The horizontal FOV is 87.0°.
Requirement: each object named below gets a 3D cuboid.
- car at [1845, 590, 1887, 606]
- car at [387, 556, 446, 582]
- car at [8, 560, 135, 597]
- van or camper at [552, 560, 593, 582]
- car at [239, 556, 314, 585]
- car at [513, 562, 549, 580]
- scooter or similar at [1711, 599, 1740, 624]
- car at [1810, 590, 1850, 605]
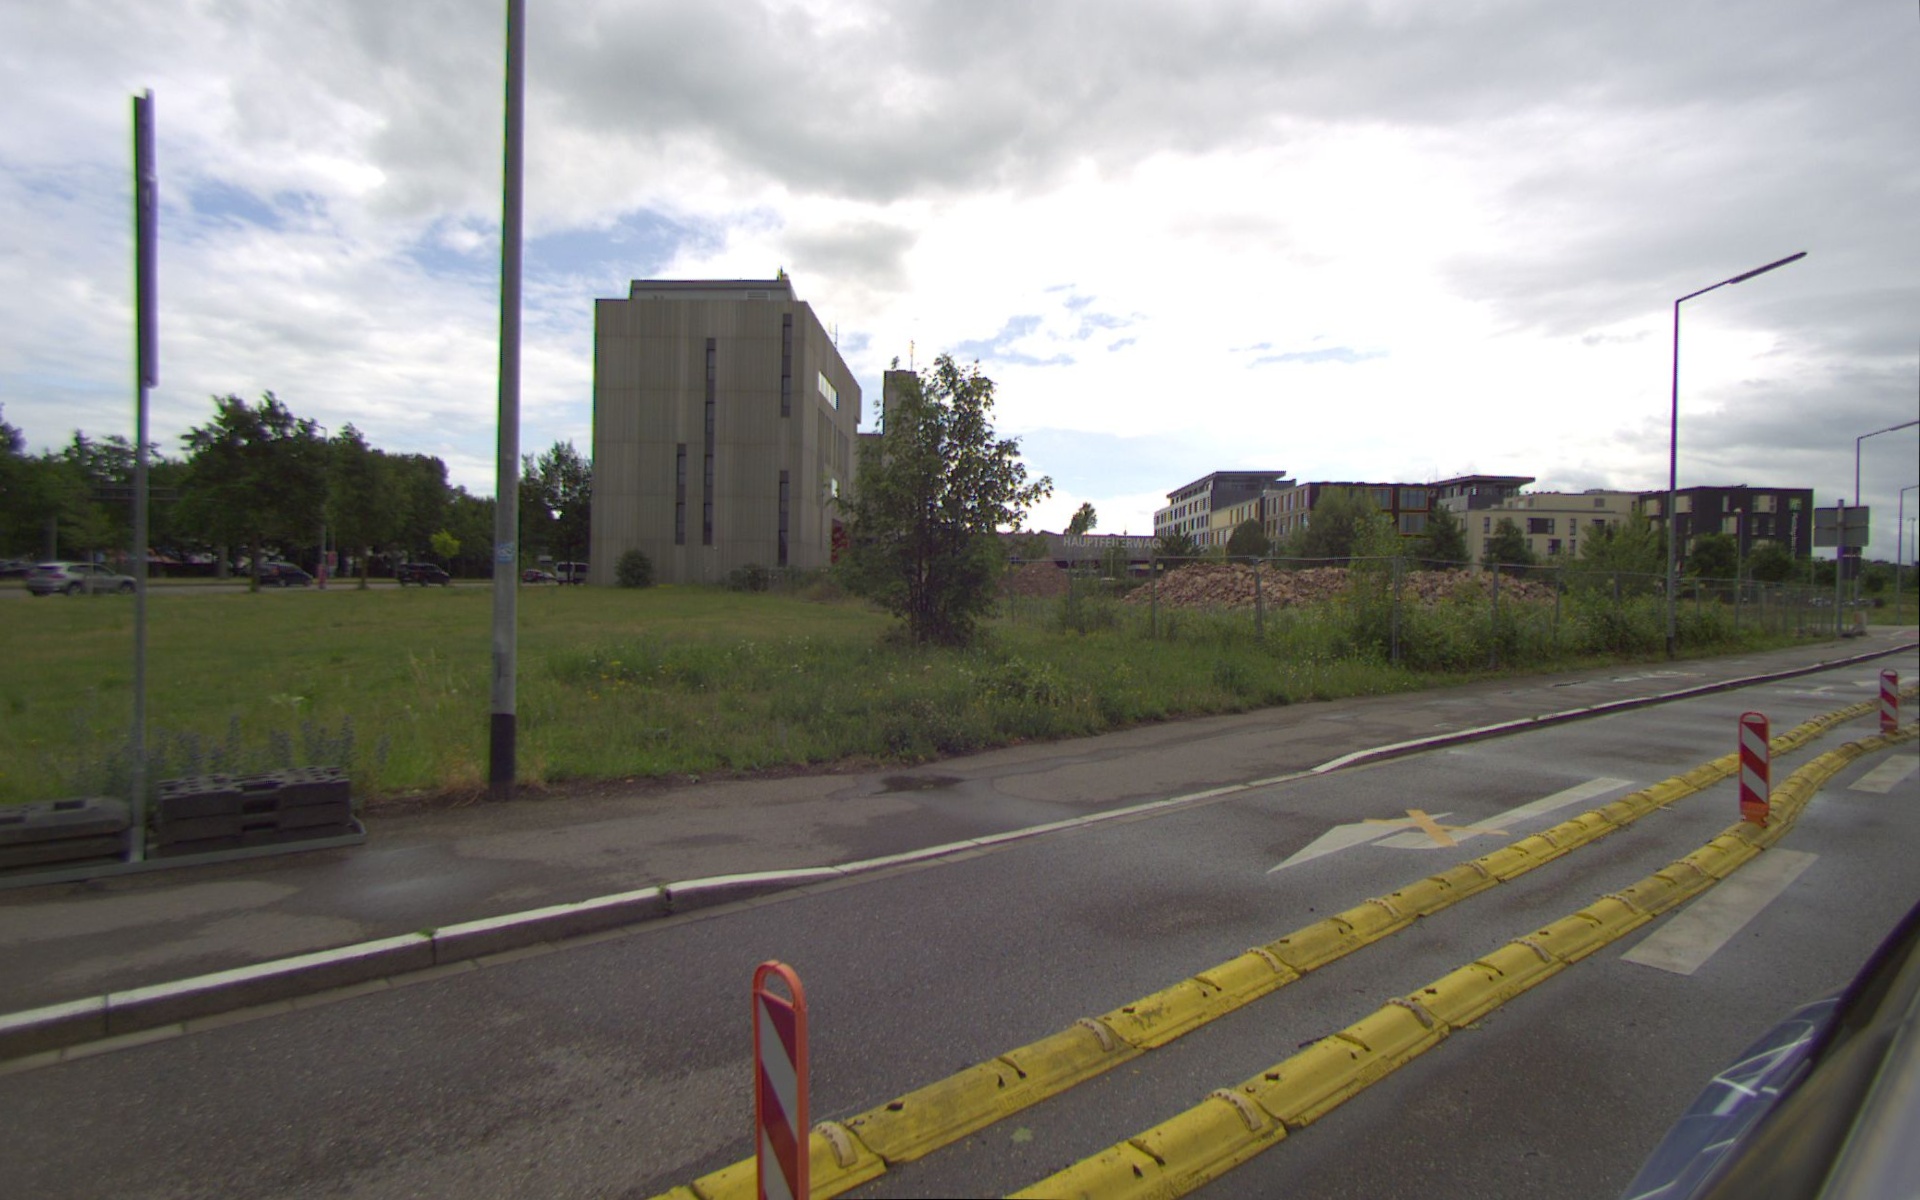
[{"bbox_3d":[126.120,-0.303,140.898,3.925,2.039,2.000,1,1,1],"label":"car"},{"bbox_3d":[-43.162,-2.452,80.536,2.180,1.996,5.047,1,1,-4],"label":"car"},{"bbox_3d":[-40.793,-0.992,46.628,1.962,1.603,4.533,1,1,-1],"label":"car"},{"bbox_3d":[-39.416,-2.979,103.064,1.963,2.142,5.551,1,1,1],"label":"van or camper"},{"bbox_3d":[-46.365,-1.975,68.773,2.041,1.836,4.204,1,1,4],"label":"car"},{"bbox_3d":[-45.465,-3.061,107.374,1.964,1.872,3.997,1,1,3],"label":"car"},{"bbox_3d":[39.352,0.592,52.064,0.437,1.200,1.327,1,1,0],"label":"scooter or similar"},{"bbox_3d":[127.282,-0.410,148.068,3.925,2.039,2.000,1,1,1],"label":"car"}]
